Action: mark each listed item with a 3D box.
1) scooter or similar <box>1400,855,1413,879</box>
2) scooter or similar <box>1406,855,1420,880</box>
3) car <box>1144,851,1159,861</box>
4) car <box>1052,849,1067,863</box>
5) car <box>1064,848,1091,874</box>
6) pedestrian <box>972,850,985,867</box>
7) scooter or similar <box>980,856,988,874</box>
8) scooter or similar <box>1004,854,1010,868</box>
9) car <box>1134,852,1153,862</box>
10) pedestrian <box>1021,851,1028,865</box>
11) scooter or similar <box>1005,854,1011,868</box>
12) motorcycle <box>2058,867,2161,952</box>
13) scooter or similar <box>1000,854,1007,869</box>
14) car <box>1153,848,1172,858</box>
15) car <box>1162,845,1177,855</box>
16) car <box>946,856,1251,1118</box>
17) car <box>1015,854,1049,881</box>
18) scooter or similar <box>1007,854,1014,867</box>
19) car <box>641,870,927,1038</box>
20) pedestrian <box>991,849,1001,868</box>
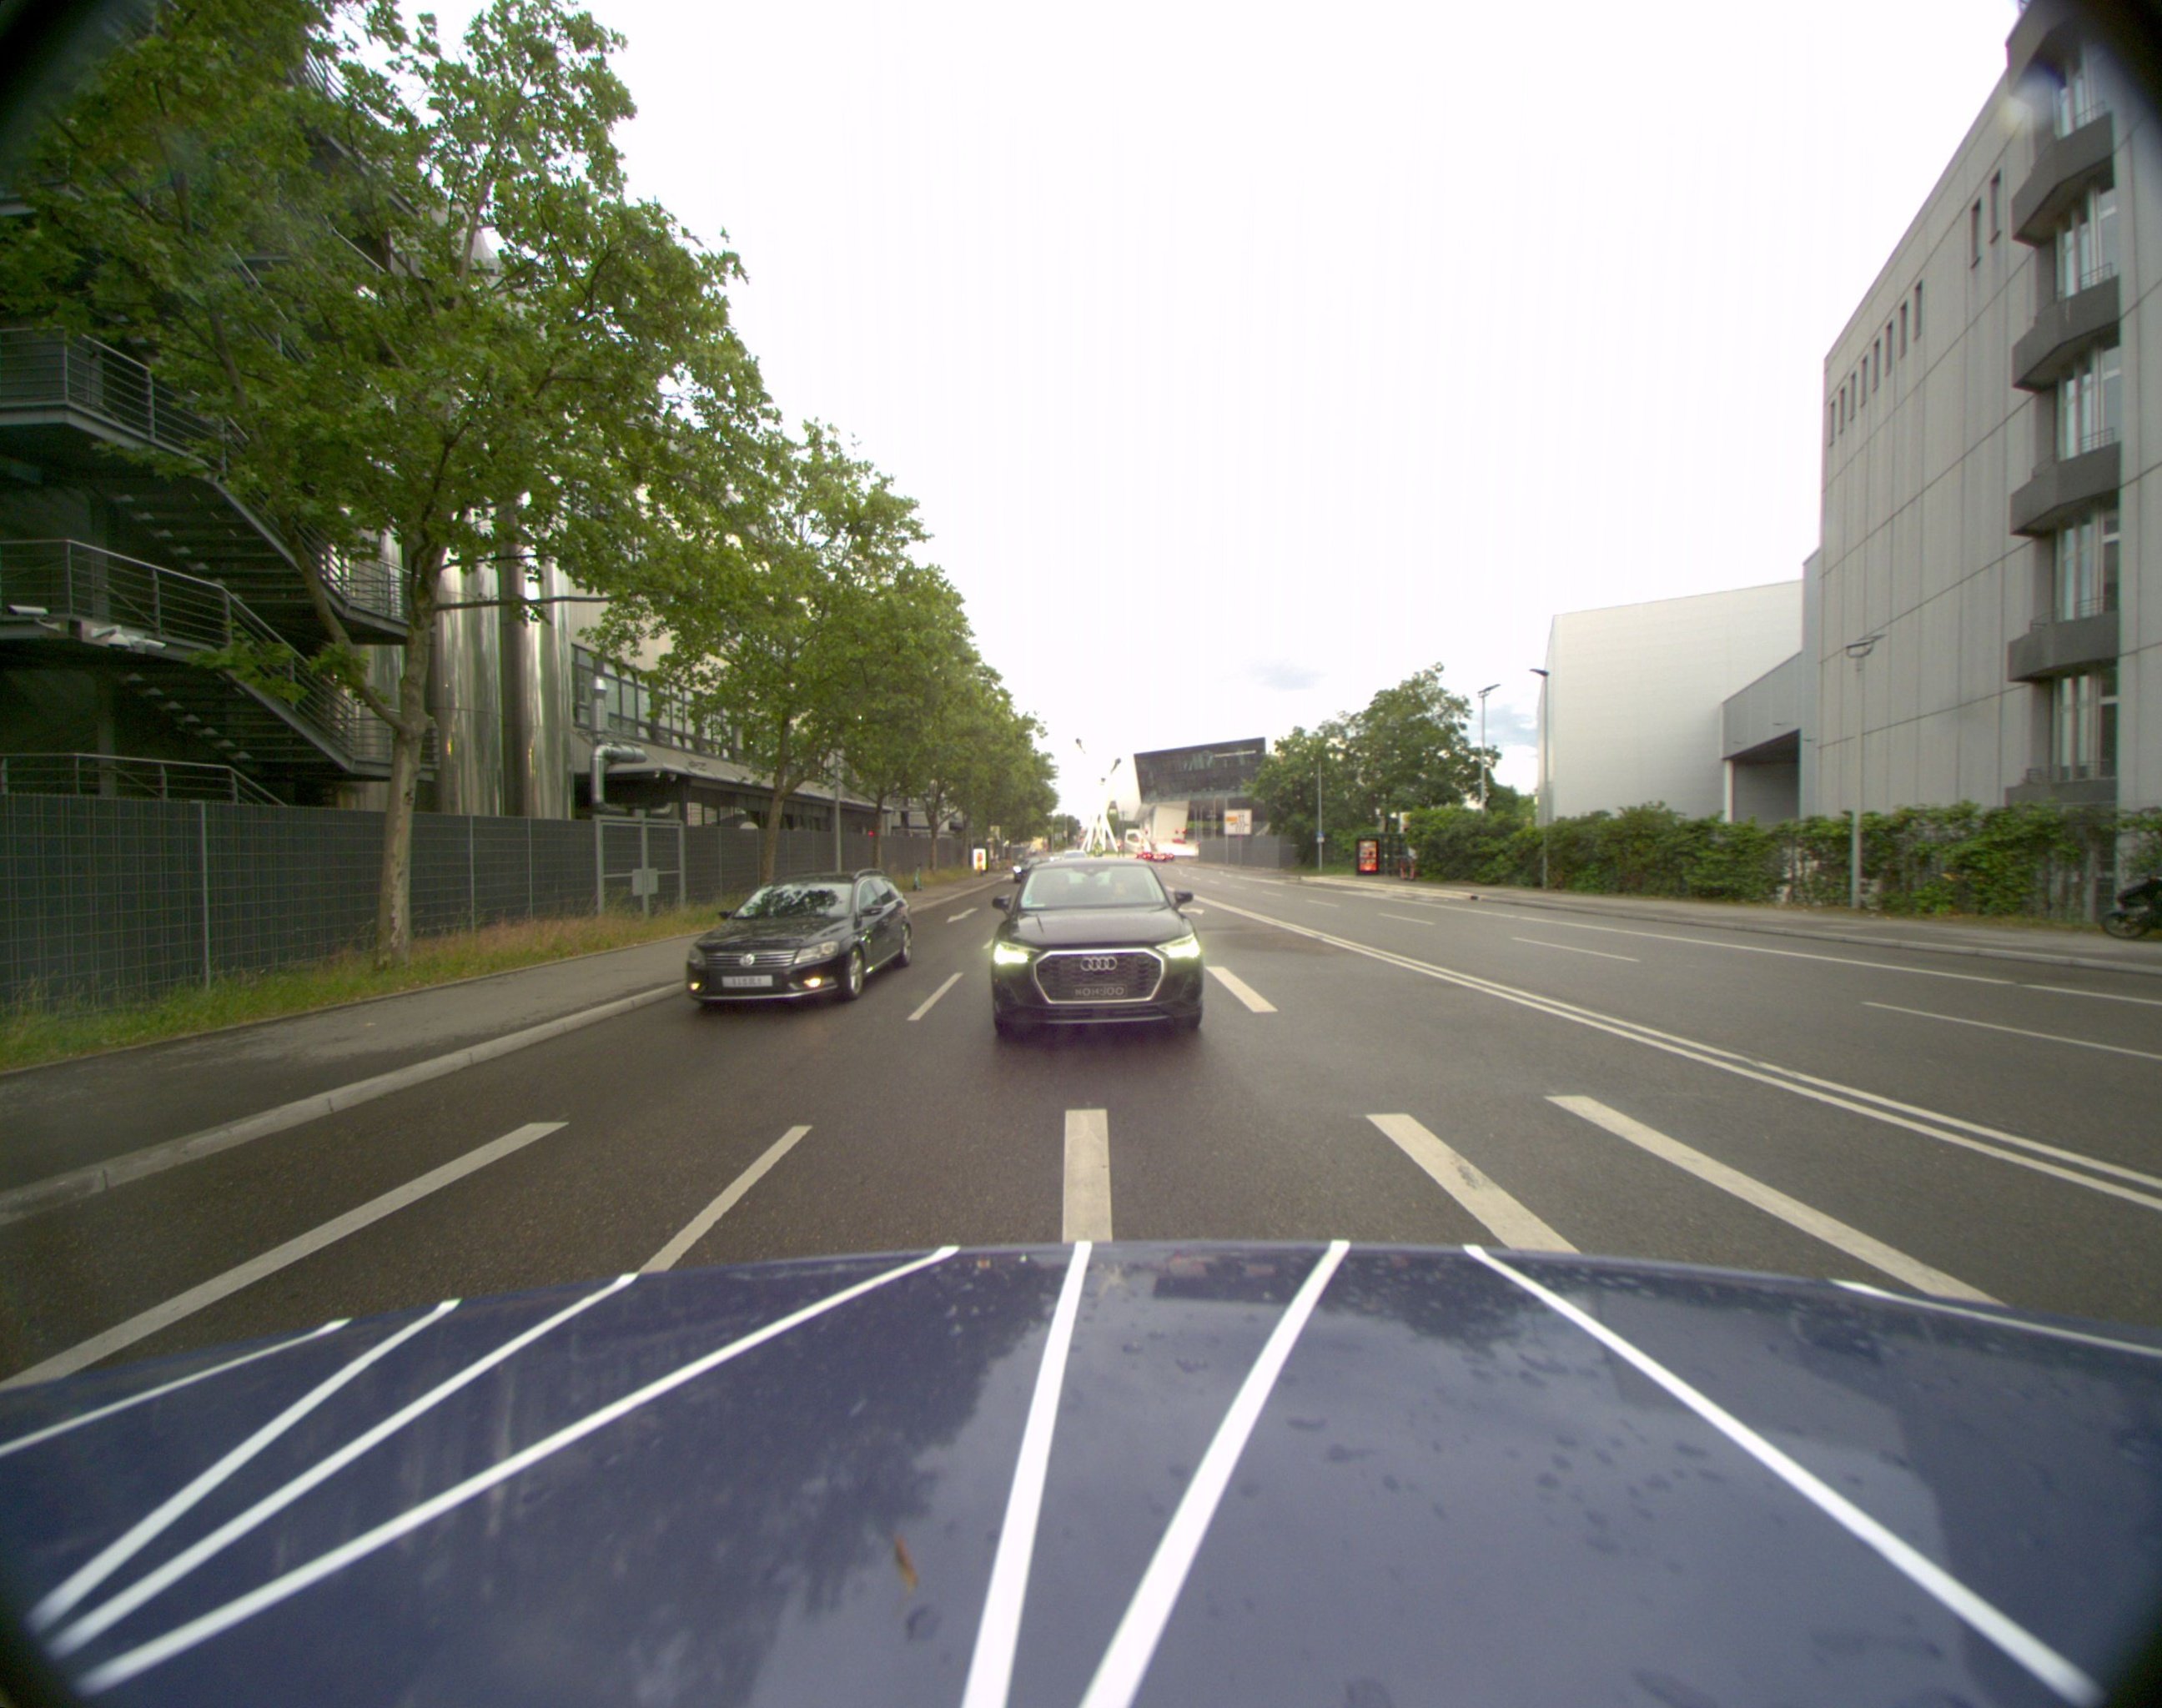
[{"bbox_3d":[16.445,0.633,38.445,0.389,1.173,1.251,0,1,13],"label":"scooter or similar"},{"bbox_3d":[16.166,0.651,37.043,0.379,1.174,1.379,0,1,13],"label":"scooter or similar"},{"bbox_3d":[11.899,0.317,128.626,1.878,1.641,3.857,0,0,16],"label":"car"},{"bbox_3d":[-2.745,0.287,98.169,1.951,1.767,4.490,0,0,-1],"label":"car"},{"bbox_3d":[-0.282,0.508,56.863,1.951,1.879,4.490,0,0,-1],"label":"car"},{"bbox_3d":[-8.597,0.353,63.789,0.933,1.408,0.698,-1,1,-1],"label":"pedestrian"},{"bbox_3d":[-6.998,0.792,54.881,0.329,1.301,1.246,-1,1,4],"label":"scooter or similar"},{"bbox_3d":[-6.961,0.689,71.542,0.437,1.288,1.300,-1,1,3],"label":"scooter or similar"},{"bbox_3d":[10.068,0.449,122.576,2.255,1.469,3.884,0,1,18],"label":"car"},{"bbox_3d":[-6.670,0.426,89.163,0.723,1.610,0.833,1,2,-1],"label":"pedestrian"},{"bbox_3d":[-7.062,0.677,73.661,0.437,1.288,1.300,-1,1,3],"label":"scooter or similar"},{"bbox_3d":[16.682,0.849,11.584,0.786,1.243,2.157,-1,1,0],"label":"motorcycle"},{"bbox_3d":[-7.131,0.677,70.124,0.437,1.288,1.300,-1,1,3],"label":"scooter or similar"},{"bbox_3d":[12.940,-0.204,120.833,2.267,1.469,4.052,0,1,18],"label":"car"},{"bbox_3d":[14.875,-0.609,127.584,1.862,1.641,3.792,0,0,19],"label":"car"},{"bbox_3d":[0.060,0.877,7.616,1.951,1.609,5.276,-2,0,-1],"label":"car"},{"bbox_3d":[-3.030,0.809,47.733,1.951,1.610,4.072,0,0,-1],"label":"car"},{"bbox_3d":[-6.980,0.661,75.457,0.437,1.288,1.367,-1,1,7],"label":"scooter or similar"},{"bbox_3d":[-3.359,1.016,9.766,1.842,1.444,4.785,-2,0,-1],"label":"car"},{"bbox_3d":[-7.541,0.416,67.692,0.778,1.700,0.729,-1,1,-1],"label":"pedestrian"}]
